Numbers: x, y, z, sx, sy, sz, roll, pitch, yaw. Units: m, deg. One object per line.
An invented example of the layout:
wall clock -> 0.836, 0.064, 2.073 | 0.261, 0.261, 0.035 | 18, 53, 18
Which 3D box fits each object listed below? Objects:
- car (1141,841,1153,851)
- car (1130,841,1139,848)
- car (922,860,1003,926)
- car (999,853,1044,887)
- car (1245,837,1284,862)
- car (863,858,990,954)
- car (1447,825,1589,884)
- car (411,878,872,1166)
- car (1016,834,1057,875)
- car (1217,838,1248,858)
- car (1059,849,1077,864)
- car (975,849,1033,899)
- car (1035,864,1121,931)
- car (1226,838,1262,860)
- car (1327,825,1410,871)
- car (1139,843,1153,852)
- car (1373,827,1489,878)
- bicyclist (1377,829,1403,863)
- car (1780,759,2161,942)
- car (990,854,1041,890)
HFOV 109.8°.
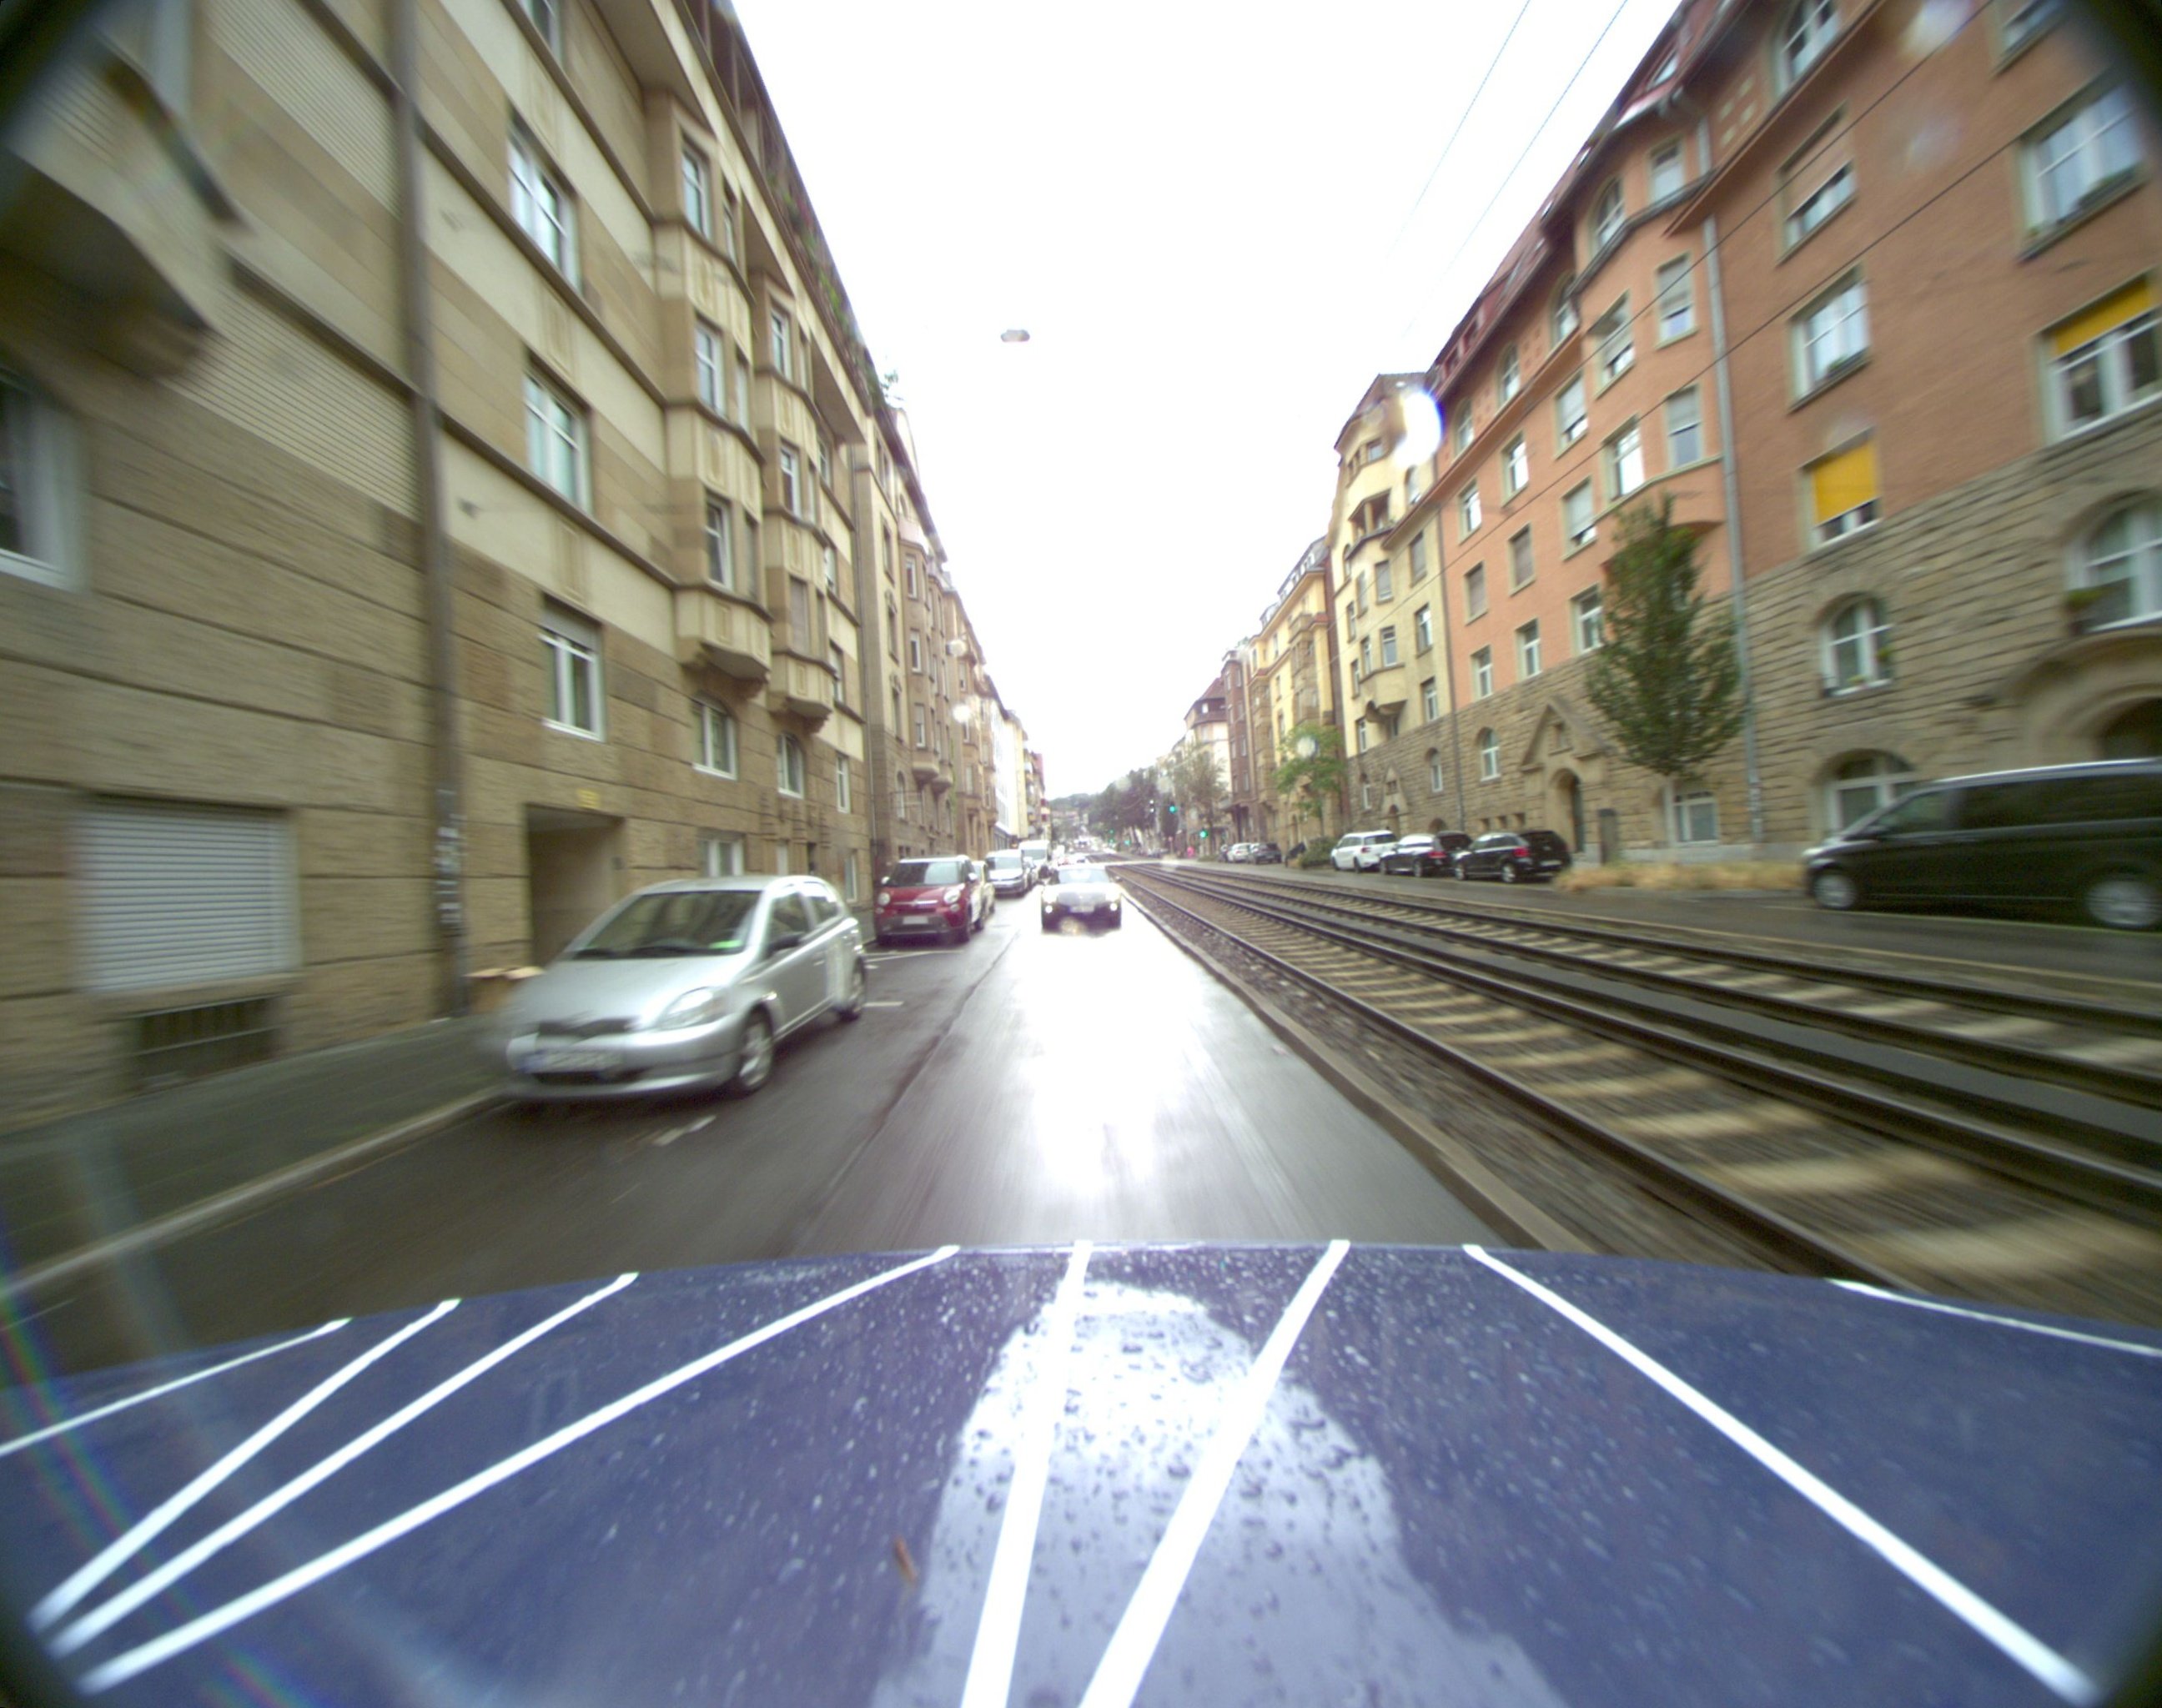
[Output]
car -> 12.063, -1.462, 138.539 | 1.794, 1.610, 4.257 | -3, 1, 0
car -> 11.873, -2.107, 168.969 | 1.794, 1.339, 4.257 | -3, 1, 0
car -> -3.174, 0.997, 20.953 | 1.632, 1.502, 3.530 | -4, 1, -1
car -> -3.087, 0.804, 40.130 | 1.935, 1.516, 4.058 | -4, 1, 0
car -> 12.316, -0.339, 51.136 | 1.717, 1.474, 3.712 | -6, 1, 2
car -> -2.973, 0.932, 15.458 | 1.774, 1.592, 3.999 | -2, 1, -1
car -> 12.446, -0.011, 21.912 | 1.760, 1.396, 3.693 | -5, 1, -3
car -> -3.024, 1.031, 6.162 | 1.598, 1.478, 3.522 | -2, 1, 1
car -> -2.891, 0.005, 51.282 | 1.991, 2.520, 6.154 | -4, 1, 2
car -> 12.311, -0.543, 61.910 | 1.759, 1.419, 3.712 | -6, 1, 2
car -> -1.346, 0.254, 82.827 | 1.794, 1.459, 4.257 | -3, 1, 1
car -> -2.990, 0.734, 30.307 | 1.811, 1.758, 3.962 | -3, 1, 0
car -> -0.032, 0.915, 17.695 | 1.737, 1.262, 4.257 | -1, 0, 0
car -> 12.216, -0.430, 57.195 | 1.759, 1.443, 4.043 | -6, 1, 2
car -> 12.161, -0.256, 32.477 | 1.760, 1.663, 4.259 | -6, 1, 0
car -> 10.846, -1.076, 127.254 | 1.794, 1.339, 4.257 | -3, 1, 0
car -> 12.174, -0.085, 26.815 | 1.760, 1.482, 4.596 | -5, 1, -2
bicyclist -> 15.025, -0.398, 36.995 | 0.894, 1.592, 0.774 | -3, 1, 0
car -> 12.244, -0.113, 9.820 | 1.911, 1.919, 4.831 | -3, 1, 0
car -> -2.991, 0.794, 35.415 | 1.931, 1.380, 3.981 | -4, 1, 0
